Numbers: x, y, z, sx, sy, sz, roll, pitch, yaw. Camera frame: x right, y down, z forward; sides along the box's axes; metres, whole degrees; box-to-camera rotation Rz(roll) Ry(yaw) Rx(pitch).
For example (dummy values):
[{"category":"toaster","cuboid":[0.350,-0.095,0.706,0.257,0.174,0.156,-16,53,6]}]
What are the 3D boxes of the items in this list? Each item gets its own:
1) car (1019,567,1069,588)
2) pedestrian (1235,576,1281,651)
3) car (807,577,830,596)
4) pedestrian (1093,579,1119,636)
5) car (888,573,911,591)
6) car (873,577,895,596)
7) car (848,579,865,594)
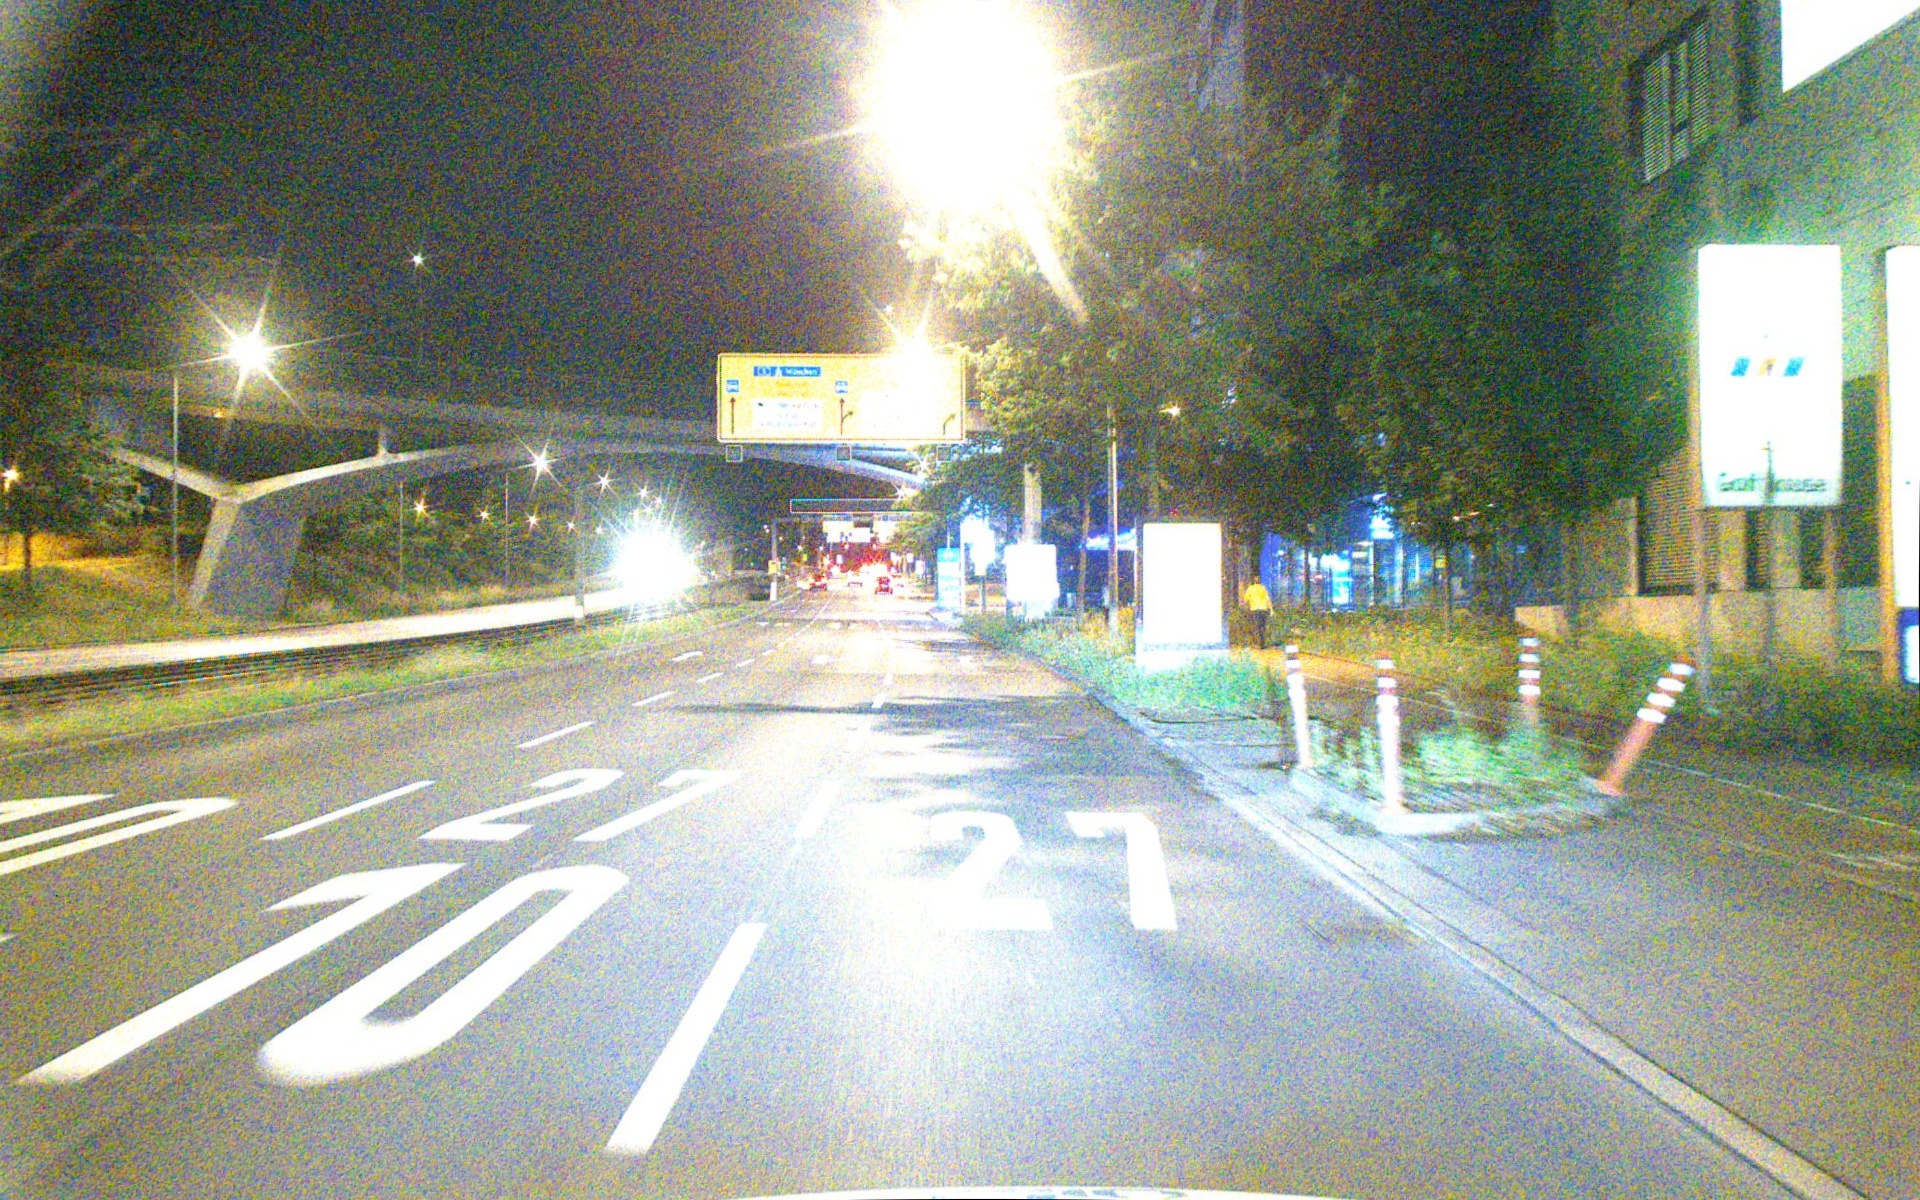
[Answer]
[{"category":"car","cuboid":[6.977,-1.853,137.786,4.036,1.549,1.821,-2,-1,-2]},{"category":"pedestrian","cuboid":[7.150,0.333,39.716,0.835,1.737,0.956,3,-1,-3]},{"category":"car","cuboid":[-13.973,-1.320,163.226,1.928,1.741,3.999,1,0,-1]},{"category":"pedestrian","cuboid":[5.058,0.260,57.370,0.787,1.946,0.794,-2,0,6]},{"category":"car","cuboid":[-7.271,-2.183,199.806,2.598,2.049,5.297,1,0,-1]},{"category":"car","cuboid":[-7.233,-1.247,157.357,1.928,1.741,3.999,1,0,-1]},{"category":"car","cuboid":[-12.049,-1.557,193.069,1.746,1.741,3.999,1,0,-1]}]
